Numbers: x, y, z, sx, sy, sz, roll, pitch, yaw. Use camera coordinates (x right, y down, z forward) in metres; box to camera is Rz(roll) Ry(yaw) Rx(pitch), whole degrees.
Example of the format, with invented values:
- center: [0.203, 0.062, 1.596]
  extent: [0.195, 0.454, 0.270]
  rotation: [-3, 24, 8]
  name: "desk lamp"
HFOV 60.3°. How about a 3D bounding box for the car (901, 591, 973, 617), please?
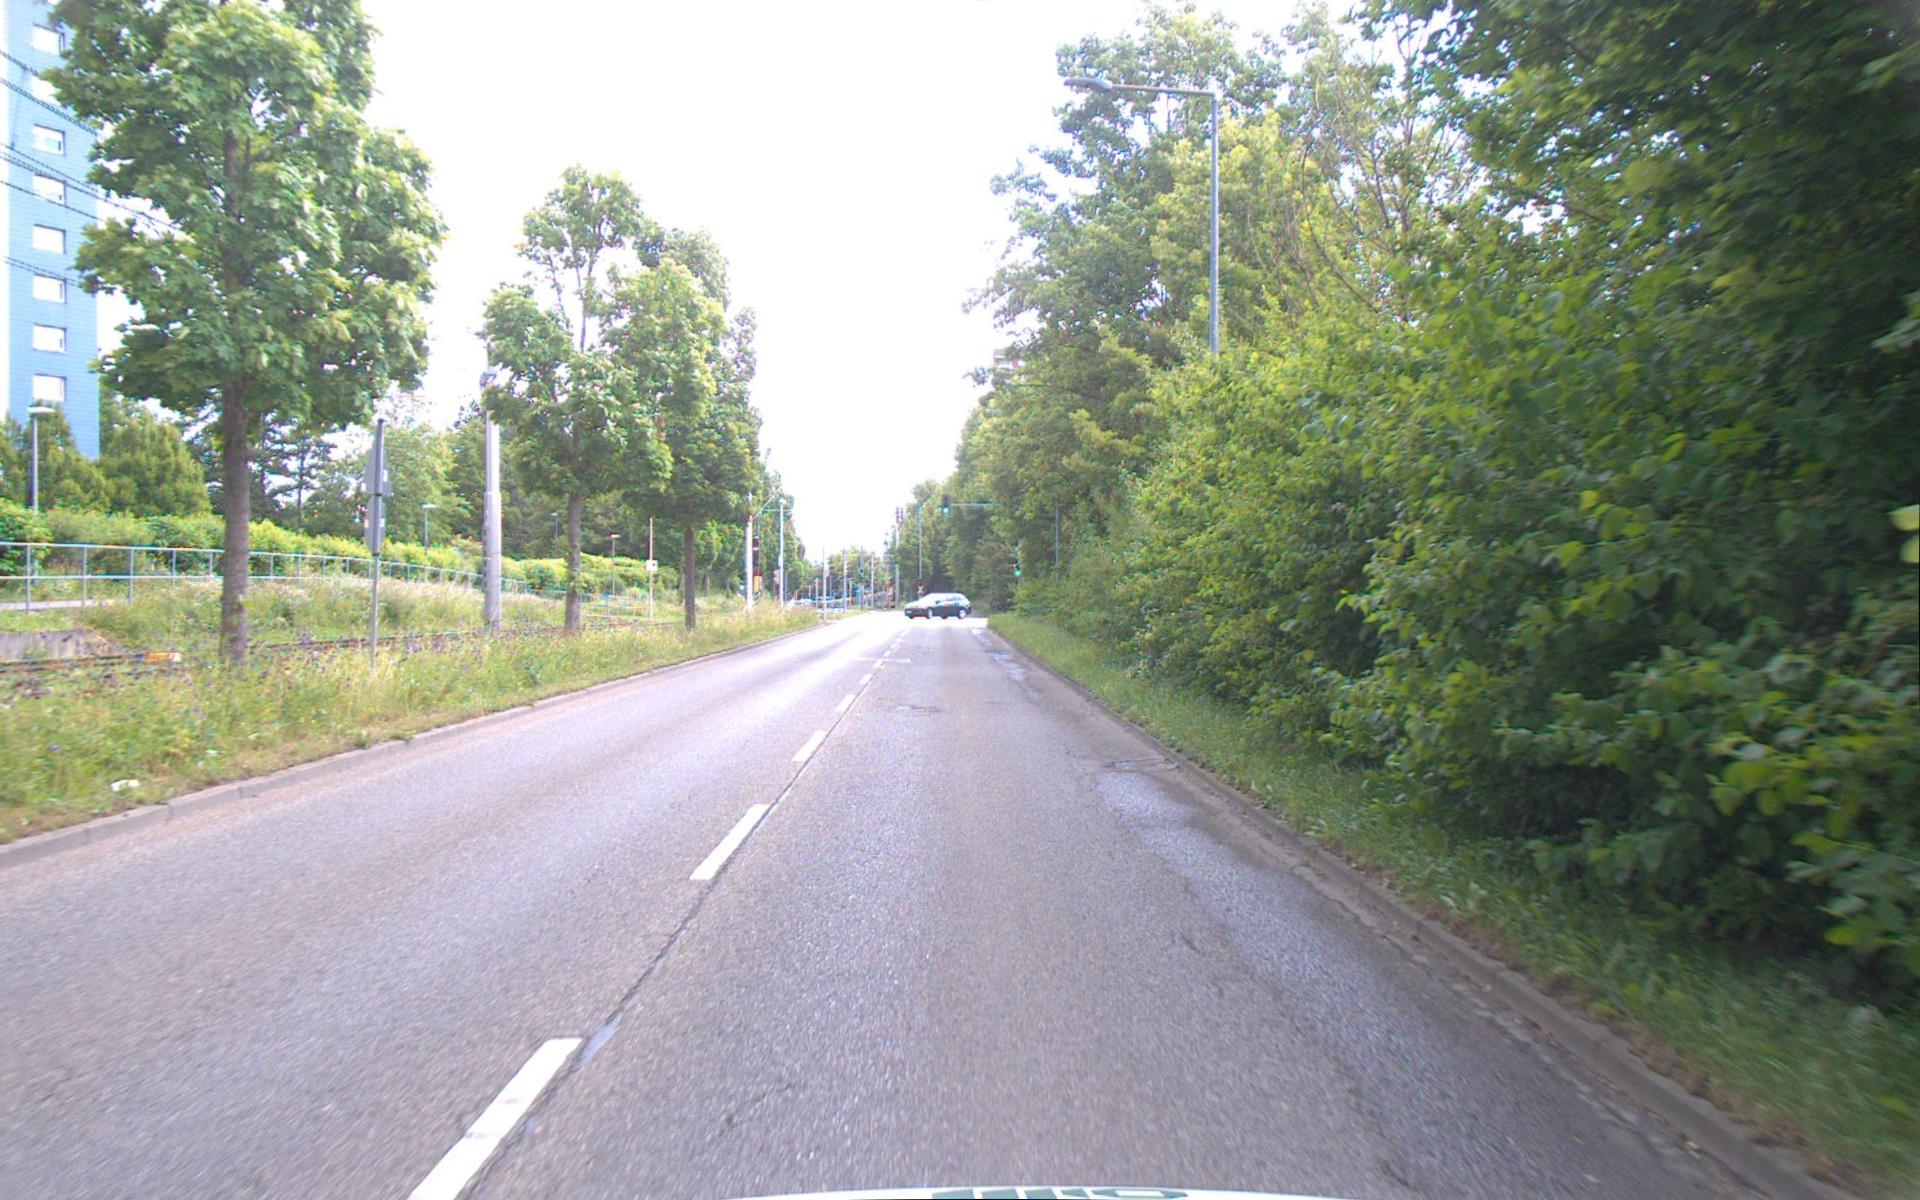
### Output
- center: [-1.364, 0.246, 99.011]
  extent: [4.220, 1.496, 1.828]
  rotation: [1, 0, -42]
  name: "car"
